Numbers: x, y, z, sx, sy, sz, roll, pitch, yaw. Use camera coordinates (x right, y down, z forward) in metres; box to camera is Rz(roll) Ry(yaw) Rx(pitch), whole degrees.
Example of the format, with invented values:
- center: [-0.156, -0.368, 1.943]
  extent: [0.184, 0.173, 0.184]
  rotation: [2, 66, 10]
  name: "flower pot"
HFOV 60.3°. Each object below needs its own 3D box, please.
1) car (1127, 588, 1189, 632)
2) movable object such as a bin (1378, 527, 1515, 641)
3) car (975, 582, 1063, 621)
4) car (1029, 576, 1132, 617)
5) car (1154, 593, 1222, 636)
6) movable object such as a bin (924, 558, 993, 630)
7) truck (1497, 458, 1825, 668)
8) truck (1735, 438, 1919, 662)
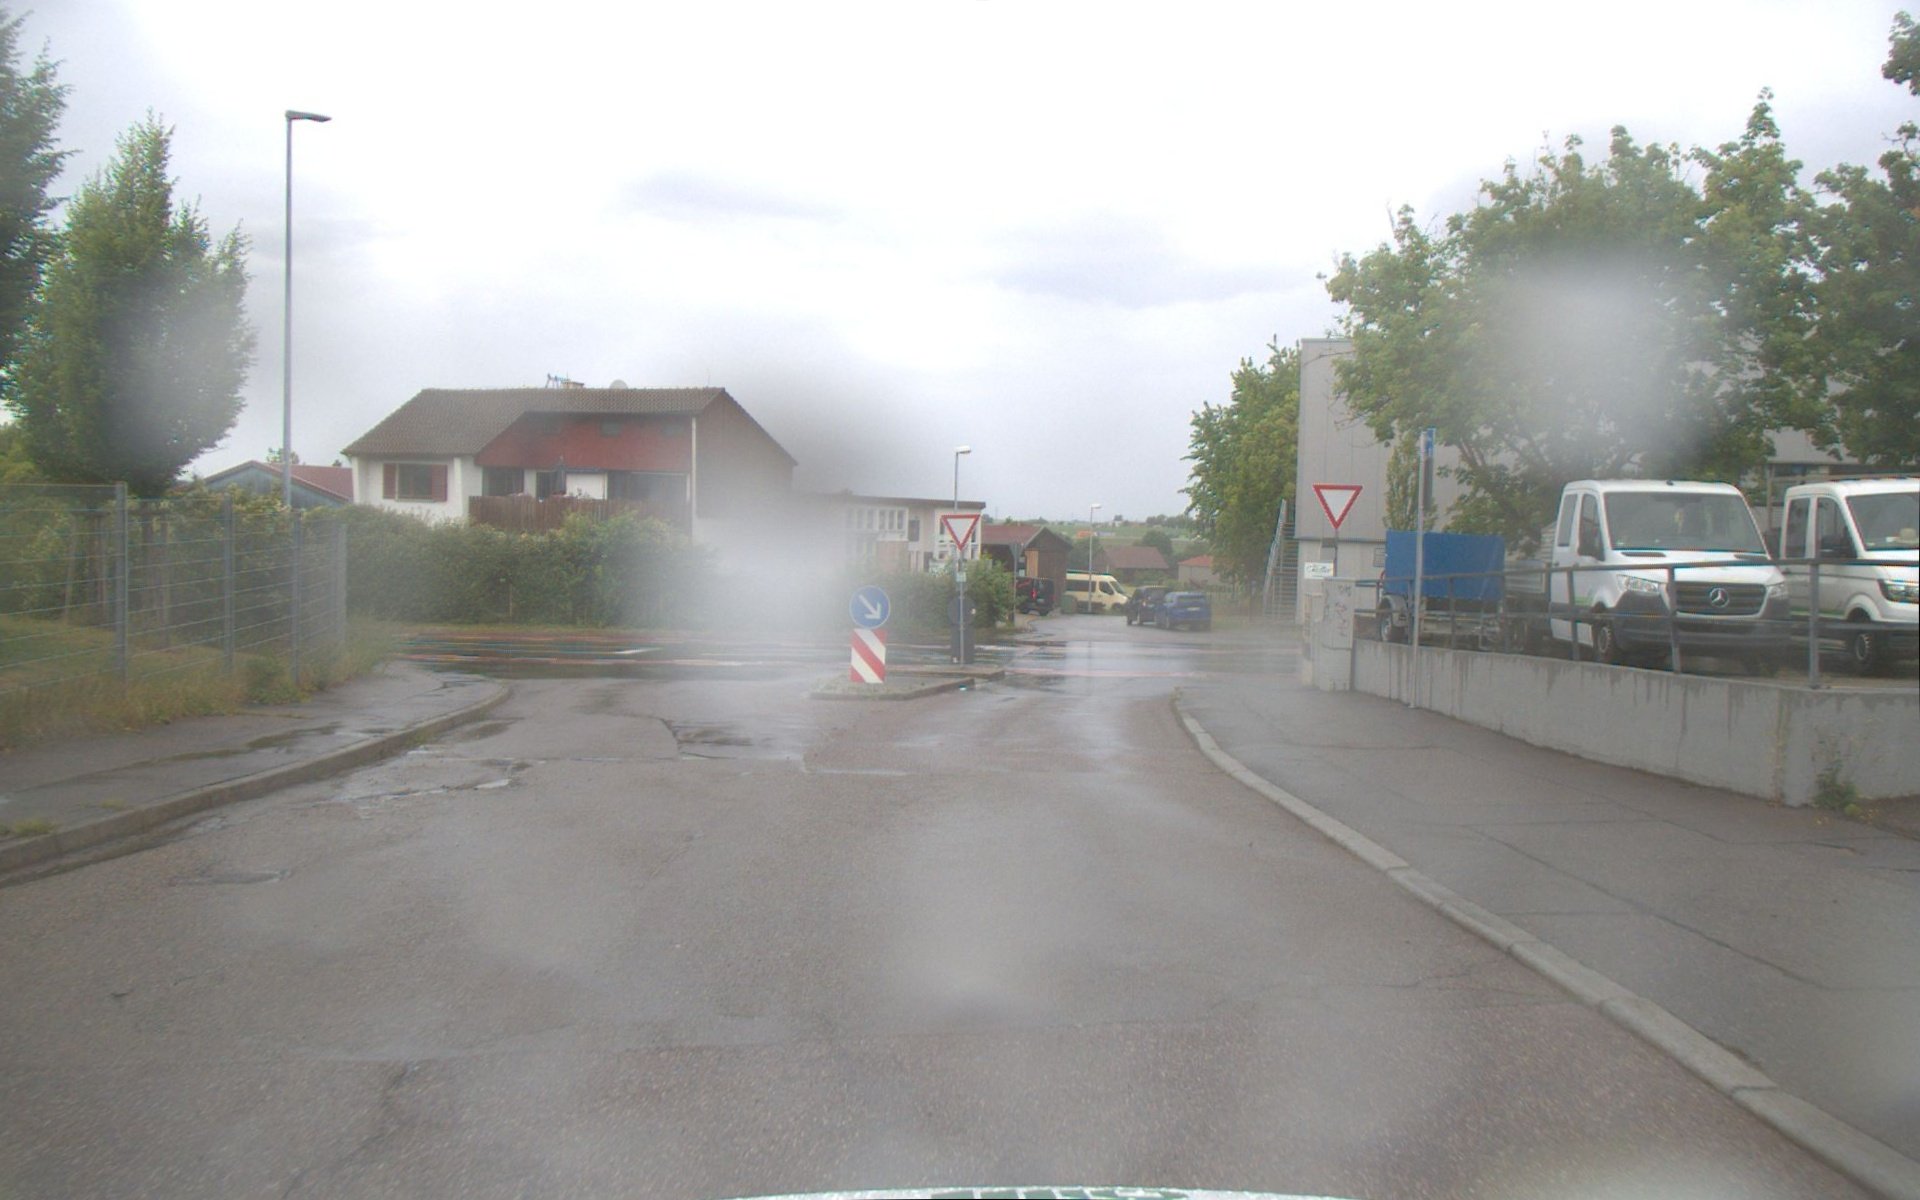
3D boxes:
- center: [8.734, 0.448, 73.260]
  extent: [2.032, 1.867, 4.468]
  rotation: [1, 0, -2]
  name: "car"
- center: [6.817, -0.219, 23.309]
  extent: [1.281, 1.527, 1.857]
  rotation: [1, 0, -4]
  name: "movable object such as a bin"
- center: [3.005, 0.079, 85.020]
  extent: [1.986, 1.938, 4.337]
  rotation: [1, 0, -45]
  name: "car"
- center: [7.475, -0.221, 102.513]
  extent: [5.887, 2.457, 2.463]
  rotation: [1, 0, 23]
  name: "car"
- center: [9.171, 0.577, 66.814]
  extent: [1.913, 1.638, 4.443]
  rotation: [1, 0, -3]
  name: "car"
- center: [-0.014, -0.214, 61.769]
  extent: [1.696, 2.601, 3.341]
  rotation: [0, 0, 16]
  name: "movable object such as a bin"
- center: [8.502, -0.399, 20.730]
  extent: [2.061, 2.253, 5.656]
  rotation: [1, 0, 4]
  name: "truck"
- center: [11.330, -0.511, 19.923]
  extent: [2.195, 2.383, 4.840]
  rotation: [1, 0, 7]
  name: "truck"
